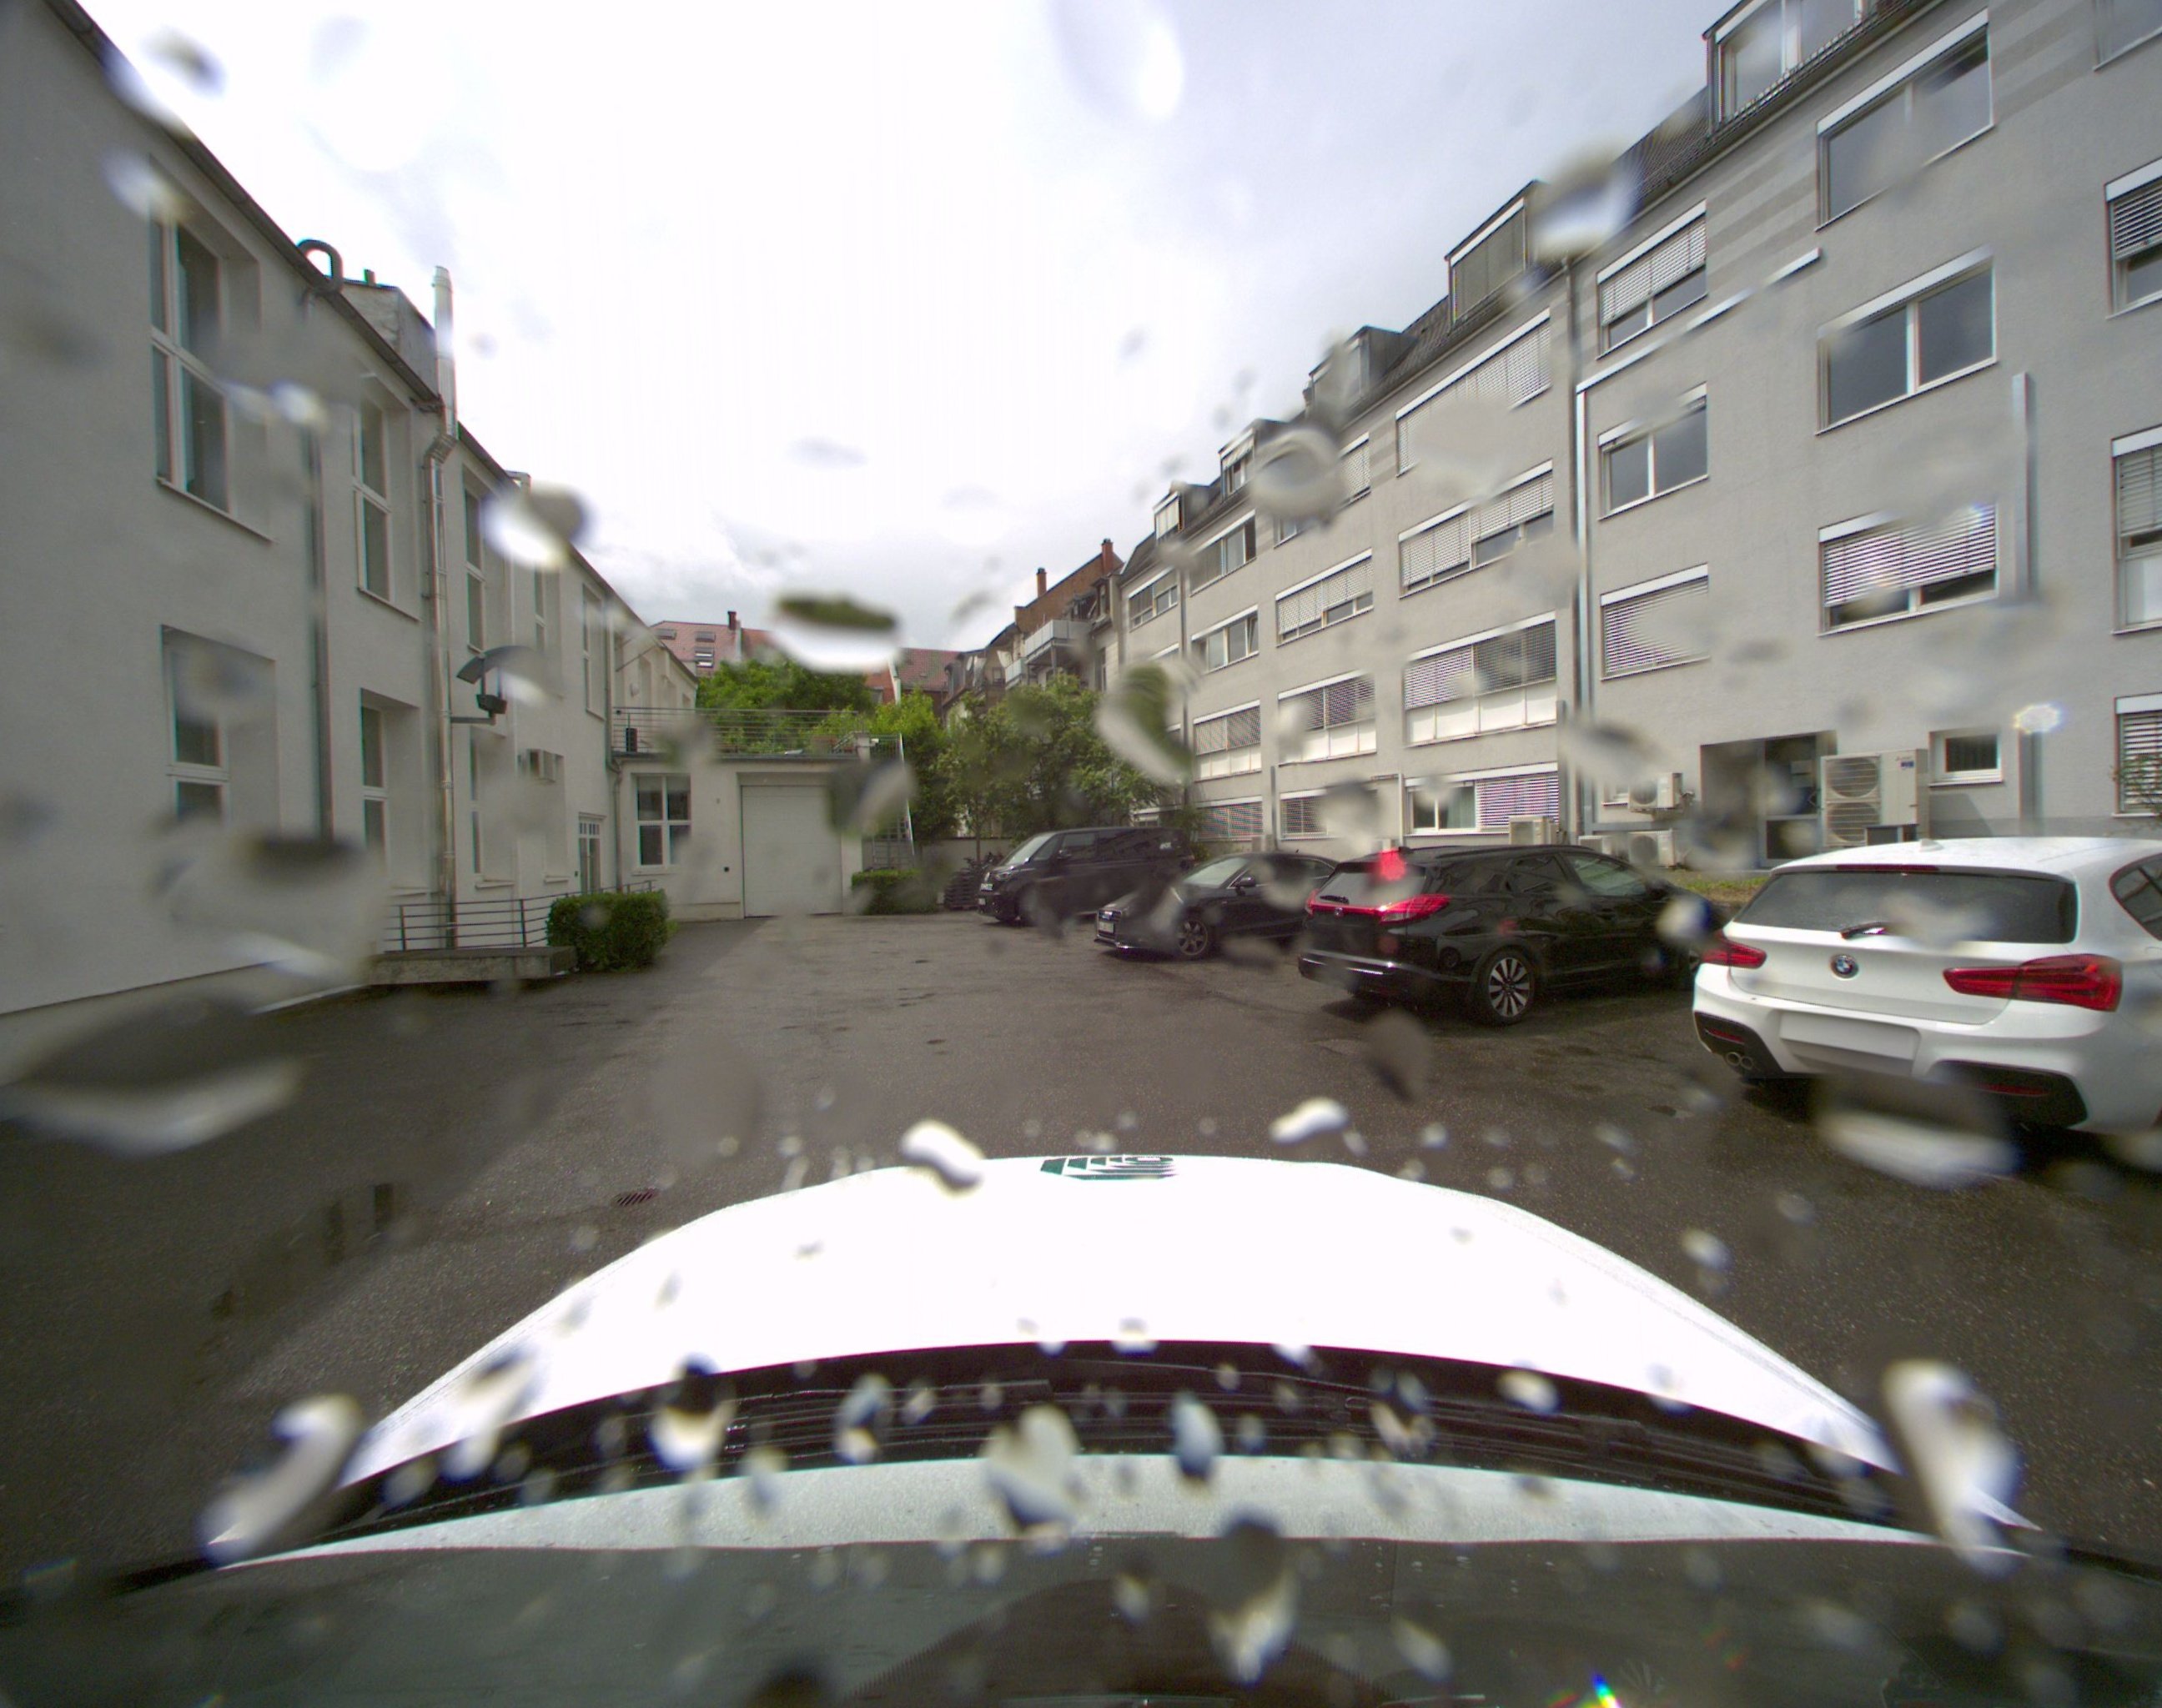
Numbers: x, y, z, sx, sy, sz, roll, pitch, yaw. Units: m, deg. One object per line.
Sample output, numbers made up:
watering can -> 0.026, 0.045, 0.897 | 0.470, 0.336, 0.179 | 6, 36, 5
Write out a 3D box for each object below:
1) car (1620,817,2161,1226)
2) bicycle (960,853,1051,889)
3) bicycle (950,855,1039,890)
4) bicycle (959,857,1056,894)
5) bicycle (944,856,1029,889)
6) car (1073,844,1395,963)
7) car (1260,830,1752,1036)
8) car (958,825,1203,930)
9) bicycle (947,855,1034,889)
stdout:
car -> 5.395, 0.571, 4.632 | 4.113, 1.455, 1.820 | -3, 1, -21
bicycle -> -2.412, 0.534, 26.208 | 2.852, 1.078, 0.685 | 0, 1, -20
bicycle -> -2.832, 0.598, 26.822 | 2.852, 1.078, 0.685 | 0, 1, -20
bicycle -> -2.281, 0.657, 25.433 | 2.933, 1.078, 0.685 | 0, 1, -20
bicycle -> -3.263, 0.611, 28.101 | 2.852, 1.078, 0.685 | 0, 1, -20
car -> 2.258, 0.603, 11.983 | 4.373, 1.348, 1.846 | -2, 1, -23
car -> 4.025, 0.567, 7.747 | 4.189, 1.401, 1.924 | -3, 0, -23
car -> -0.006, 0.402, 17.337 | 4.730, 1.833, 2.094 | -3, 1, -23
bicycle -> -3.058, 0.588, 27.495 | 2.852, 1.078, 0.685 | 0, 1, -20
